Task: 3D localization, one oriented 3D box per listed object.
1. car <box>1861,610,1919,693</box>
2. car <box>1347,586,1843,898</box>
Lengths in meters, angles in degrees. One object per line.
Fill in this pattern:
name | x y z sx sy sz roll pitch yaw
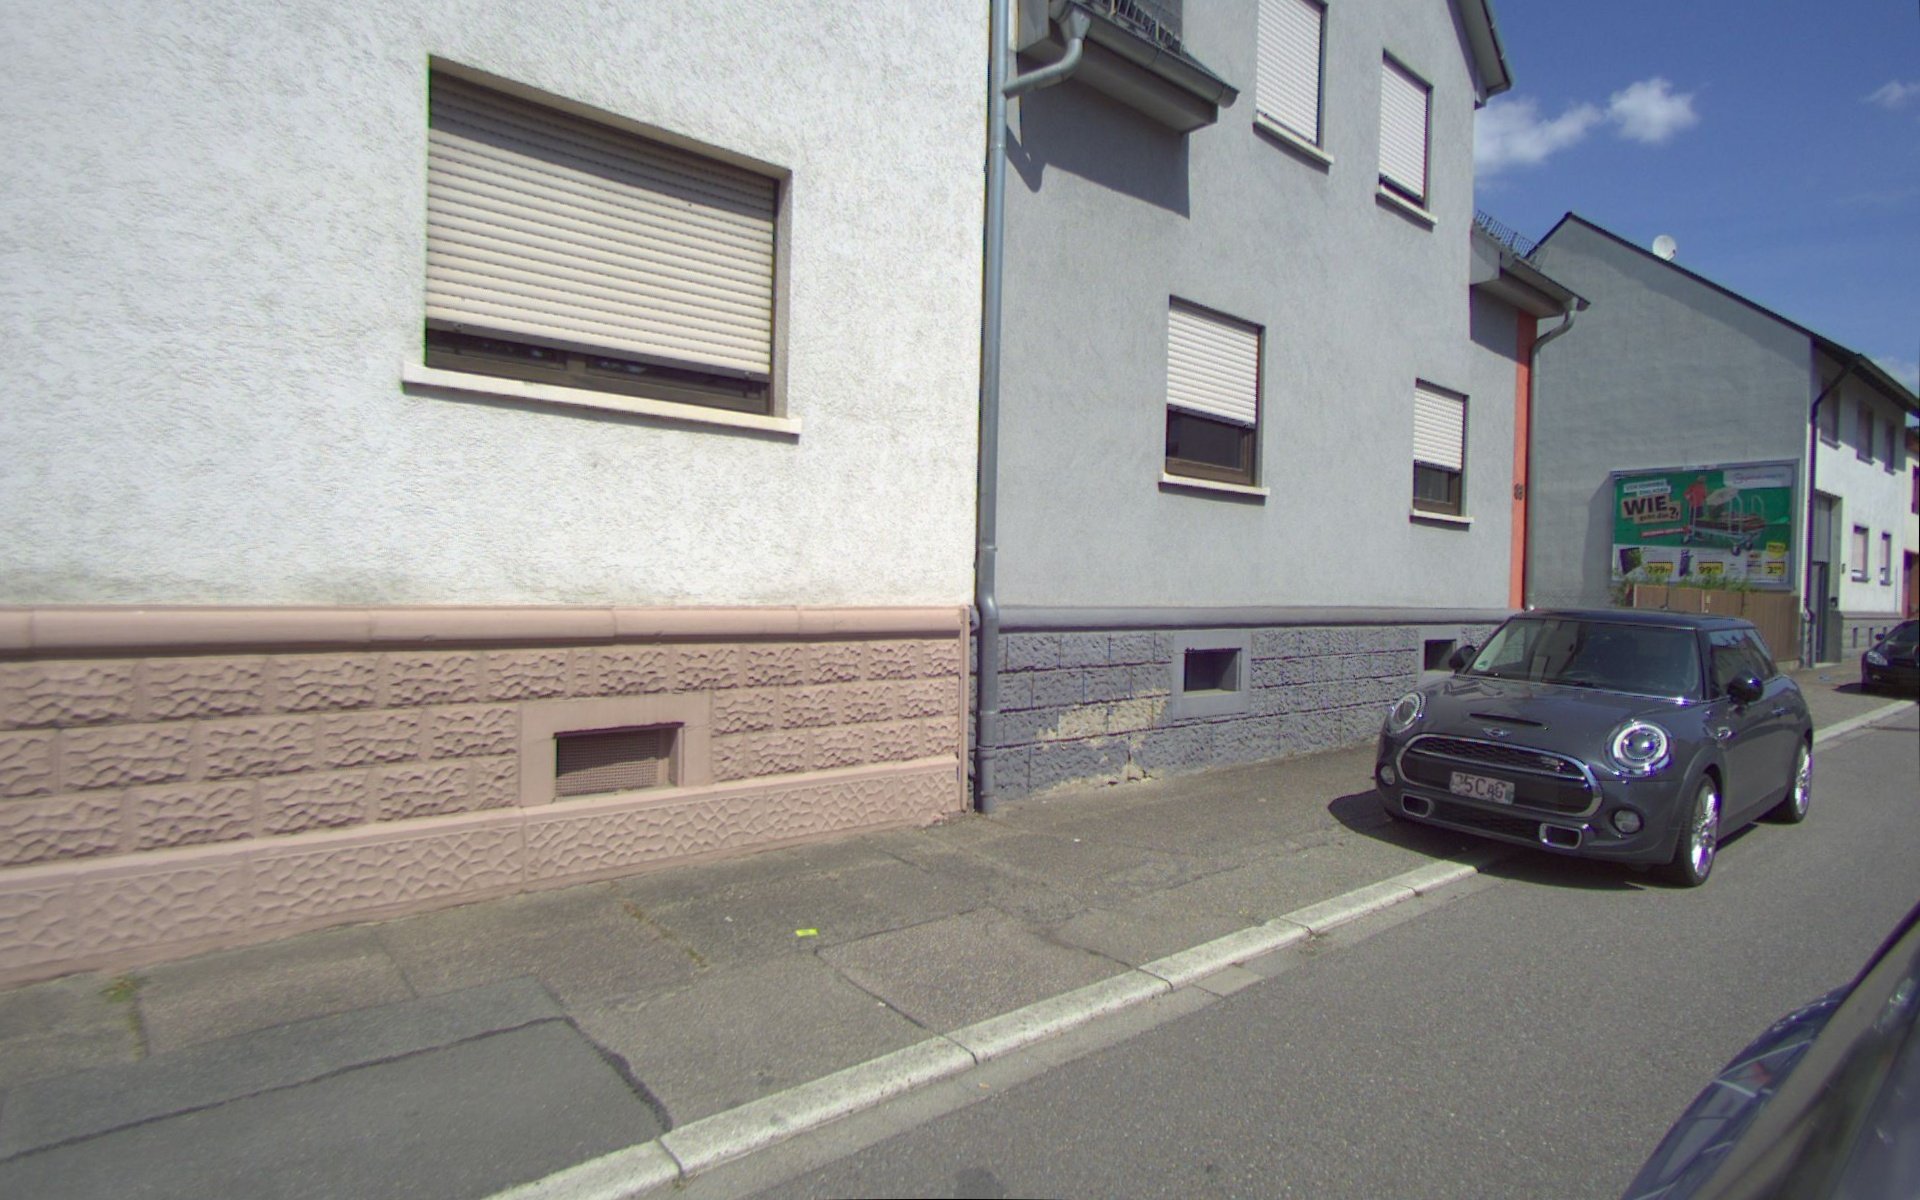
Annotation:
car | 16.933 0.847 17.182 4.072 1.291 1.820 0 1 -39
car | 4.257 0.667 6.589 3.591 1.440 1.692 0 1 -40
